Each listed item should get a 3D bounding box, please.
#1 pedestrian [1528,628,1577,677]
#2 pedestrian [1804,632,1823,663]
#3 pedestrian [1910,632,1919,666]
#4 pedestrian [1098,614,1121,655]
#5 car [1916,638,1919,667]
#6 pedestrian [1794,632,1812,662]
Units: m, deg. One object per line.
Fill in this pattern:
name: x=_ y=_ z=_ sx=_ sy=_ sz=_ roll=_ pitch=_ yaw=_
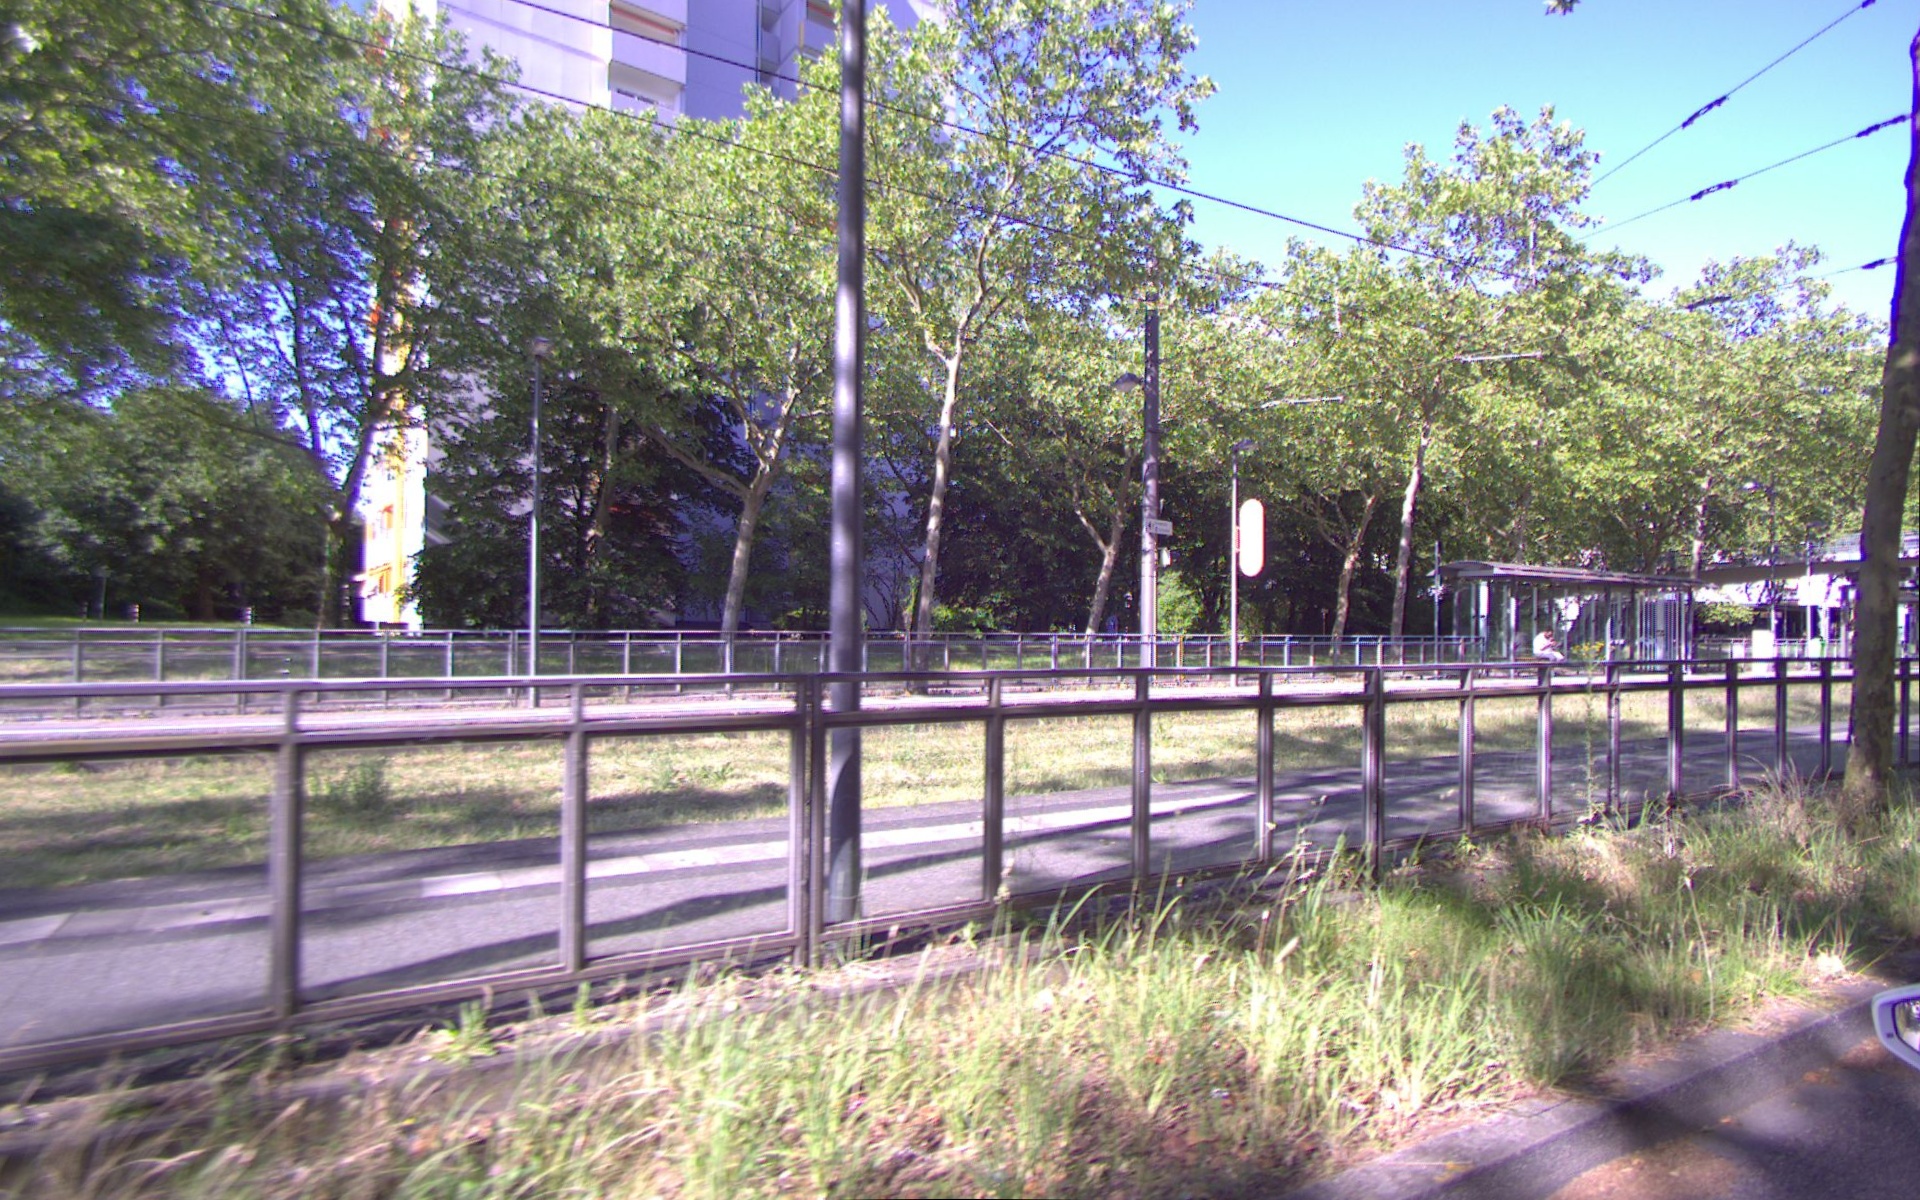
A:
pedestrian: x=14.827 y=1.309 z=25.140 sx=0.754 sy=1.199 sz=0.762 roll=1 pitch=-1 yaw=-29
pedestrian: x=48.223 y=2.673 z=56.748 sx=0.643 sy=1.683 sz=0.644 roll=1 pitch=-1 yaw=-34
pedestrian: x=36.260 y=1.855 z=37.671 sx=0.714 sy=1.254 sz=0.774 roll=1 pitch=-1 yaw=-31
pedestrian: x=6.120 y=1.407 z=41.029 sx=0.642 sy=1.683 sz=0.645 roll=1 pitch=-1 yaw=-29
car: x=54.741 y=2.930 z=55.569 sx=4.243 sy=1.587 sz=1.783 roll=2 pitch=-1 yaw=-34
pedestrian: x=47.458 y=2.654 z=56.526 sx=0.643 sy=1.683 sz=0.644 roll=1 pitch=-1 yaw=-34
